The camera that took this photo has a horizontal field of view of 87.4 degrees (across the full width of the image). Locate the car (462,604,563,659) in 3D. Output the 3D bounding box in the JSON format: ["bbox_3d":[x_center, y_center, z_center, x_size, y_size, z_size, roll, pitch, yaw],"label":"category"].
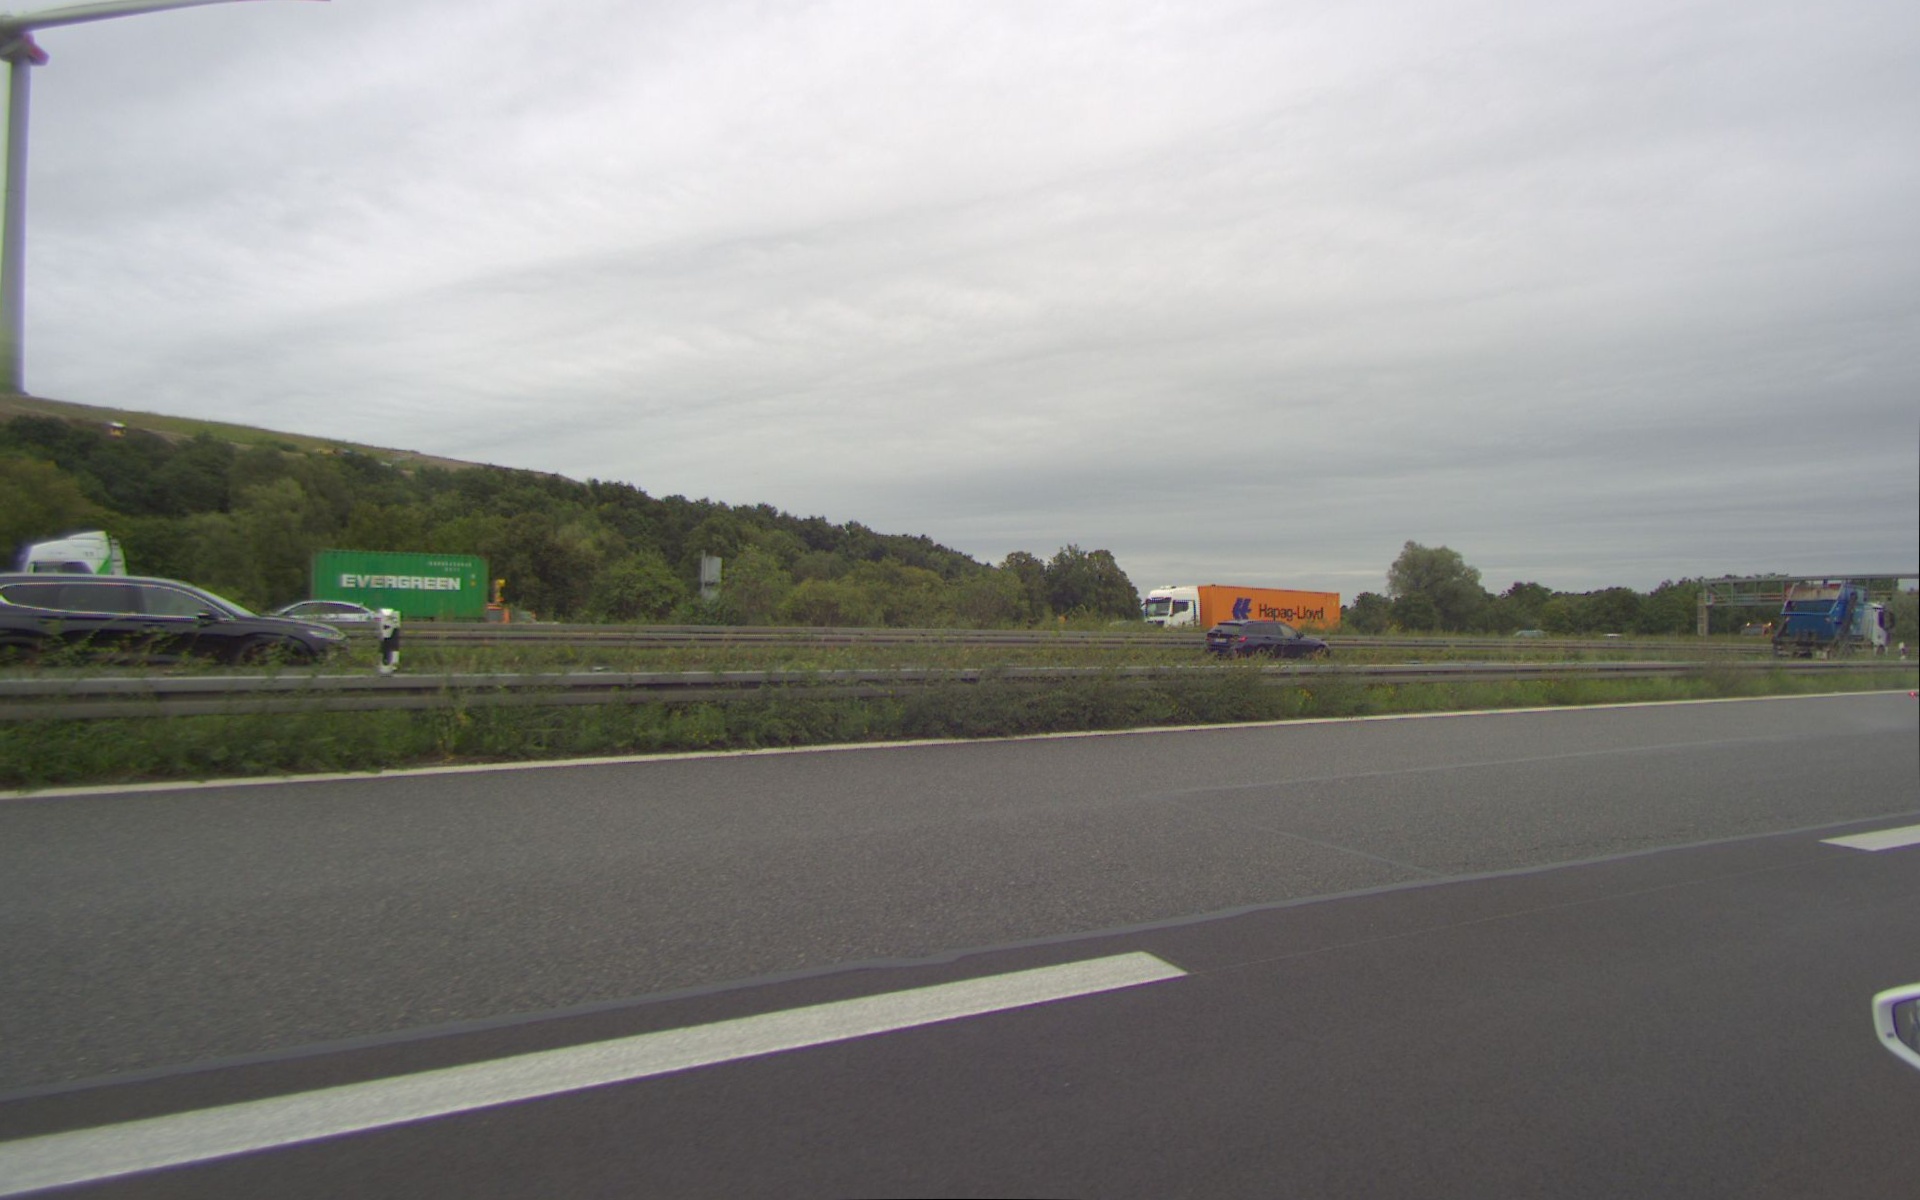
[{"bbox_3d":[-20.376,1.436,45.728,3.956,2.408,2.011,2,0,-32],"label":"car"}]

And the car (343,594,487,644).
[{"bbox_3d":[-19.963,0.697,36.908,4.502,1.659,1.951,3,0,-31],"label":"car"}]

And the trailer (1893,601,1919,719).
[{"bbox_3d":[19.926,1.144,18.291,6.983,2.021,2.472,2,0,-31],"label":"trailer"}]

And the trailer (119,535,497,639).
[{"bbox_3d":[-24.287,-0.334,38.412,11.675,3.448,2.942,2,-1,-33],"label":"trailer"}]

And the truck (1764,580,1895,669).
[{"bbox_3d":[40.466,1.195,46.696,7.265,3.863,2.622,3,0,-33],"label":"truck"}]

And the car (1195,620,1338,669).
[{"bbox_3d":[9.934,1.458,32.438,4.723,1.410,1.793,3,0,-33],"label":"car"}]

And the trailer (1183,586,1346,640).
[{"bbox_3d":[20.241,0.901,66.198,12.426,3.114,2.671,3,0,-32],"label":"trailer"}]

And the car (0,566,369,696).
[{"bbox_3d":[-11.298,0.444,14.460,4.754,1.648,1.872,3,0,-32],"label":"car"}]

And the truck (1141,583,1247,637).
[{"bbox_3d":[14.624,0.646,62.710,6.383,3.114,2.671,3,0,-31],"label":"truck"}]

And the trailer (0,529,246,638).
[{"bbox_3d":[-29.501,-0.485,35.050,7.193,3.448,2.942,2,-1,-33],"label":"trailer"}]
